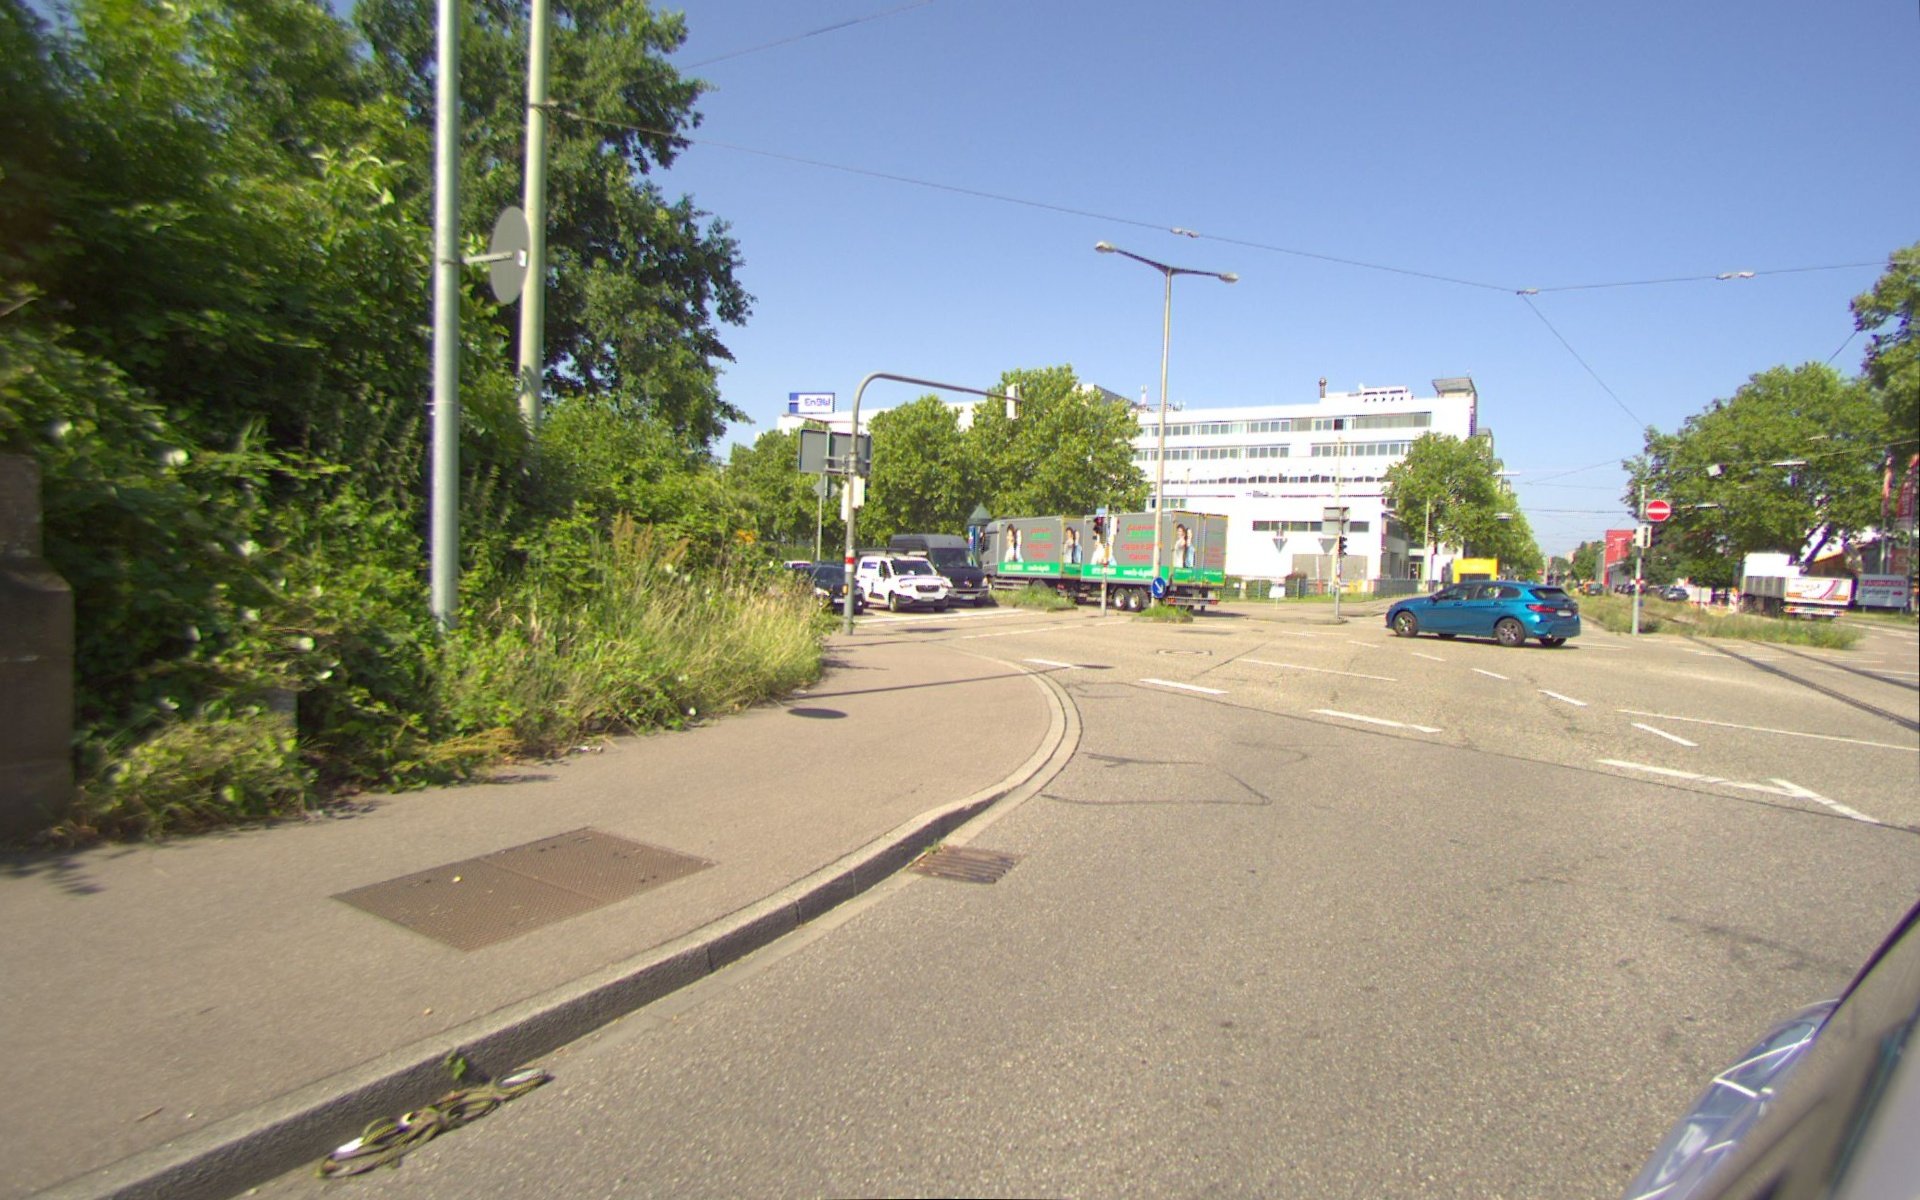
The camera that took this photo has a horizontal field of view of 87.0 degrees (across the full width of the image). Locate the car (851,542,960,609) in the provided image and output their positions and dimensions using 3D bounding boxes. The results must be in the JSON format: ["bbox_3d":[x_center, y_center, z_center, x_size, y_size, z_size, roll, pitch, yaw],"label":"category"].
[{"bbox_3d":[-1.892,-0.765,33.221,1.958,2.039,4.893,1,0,-24],"label":"car"}]

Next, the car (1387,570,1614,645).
[{"bbox_3d":[12.338,0.118,23.397,1.959,1.450,4.203,1,3,-28],"label":"car"}]

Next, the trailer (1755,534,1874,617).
[{"bbox_3d":[45.783,-1.190,54.652,2.918,4.012,12.006,1,0,31],"label":"trailer"}]

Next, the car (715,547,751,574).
[{"bbox_3d":[-16.903,-2.923,75.310,1.958,1.883,4.008,1,0,-23],"label":"car"}]

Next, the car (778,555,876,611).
[{"bbox_3d":[-4.111,-0.489,30.665,1.958,1.571,4.008,1,0,-23],"label":"car"}]

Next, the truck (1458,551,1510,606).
[{"bbox_3d":[29.464,-1.166,57.038,2.386,2.899,5.753,1,0,25],"label":"truck"}]

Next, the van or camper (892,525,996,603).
[{"bbox_3d":[-0.686,-1.232,36.832,1.958,2.618,5.156,1,0,-23],"label":"van or camper"}]

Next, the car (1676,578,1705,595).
[{"bbox_3d":[78.104,-1.473,108.263,1.981,1.772,3.961,1,0,28],"label":"car"}]

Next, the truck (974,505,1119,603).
[{"bbox_3d":[3.747,-1.959,46.741,2.879,4.096,8.669,1,0,-24],"label":"truck"}]

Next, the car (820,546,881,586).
[{"bbox_3d":[-5.530,-1.679,50.678,1.958,1.883,4.008,1,0,-23],"label":"car"}]

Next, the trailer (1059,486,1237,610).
[{"bbox_3d":[7.024,-1.837,39.241,2.879,4.279,7.816,1,0,-24],"label":"trailer"}]

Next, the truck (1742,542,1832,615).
[{"bbox_3d":[49.197,-1.206,60.436,2.918,4.040,8.064,1,0,31],"label":"truck"}]

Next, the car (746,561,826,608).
[{"bbox_3d":[-6.247,-0.528,35.980,1.958,1.571,4.008,1,0,-23],"label":"car"}]

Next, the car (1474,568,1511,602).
[{"bbox_3d":[34.581,-0.994,65.800,1.981,2.038,3.963,3,3,27],"label":"car"}]

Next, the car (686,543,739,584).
[{"bbox_3d":[-12.319,-1.749,50.158,1.958,1.883,4.008,1,0,-23],"label":"car"}]
